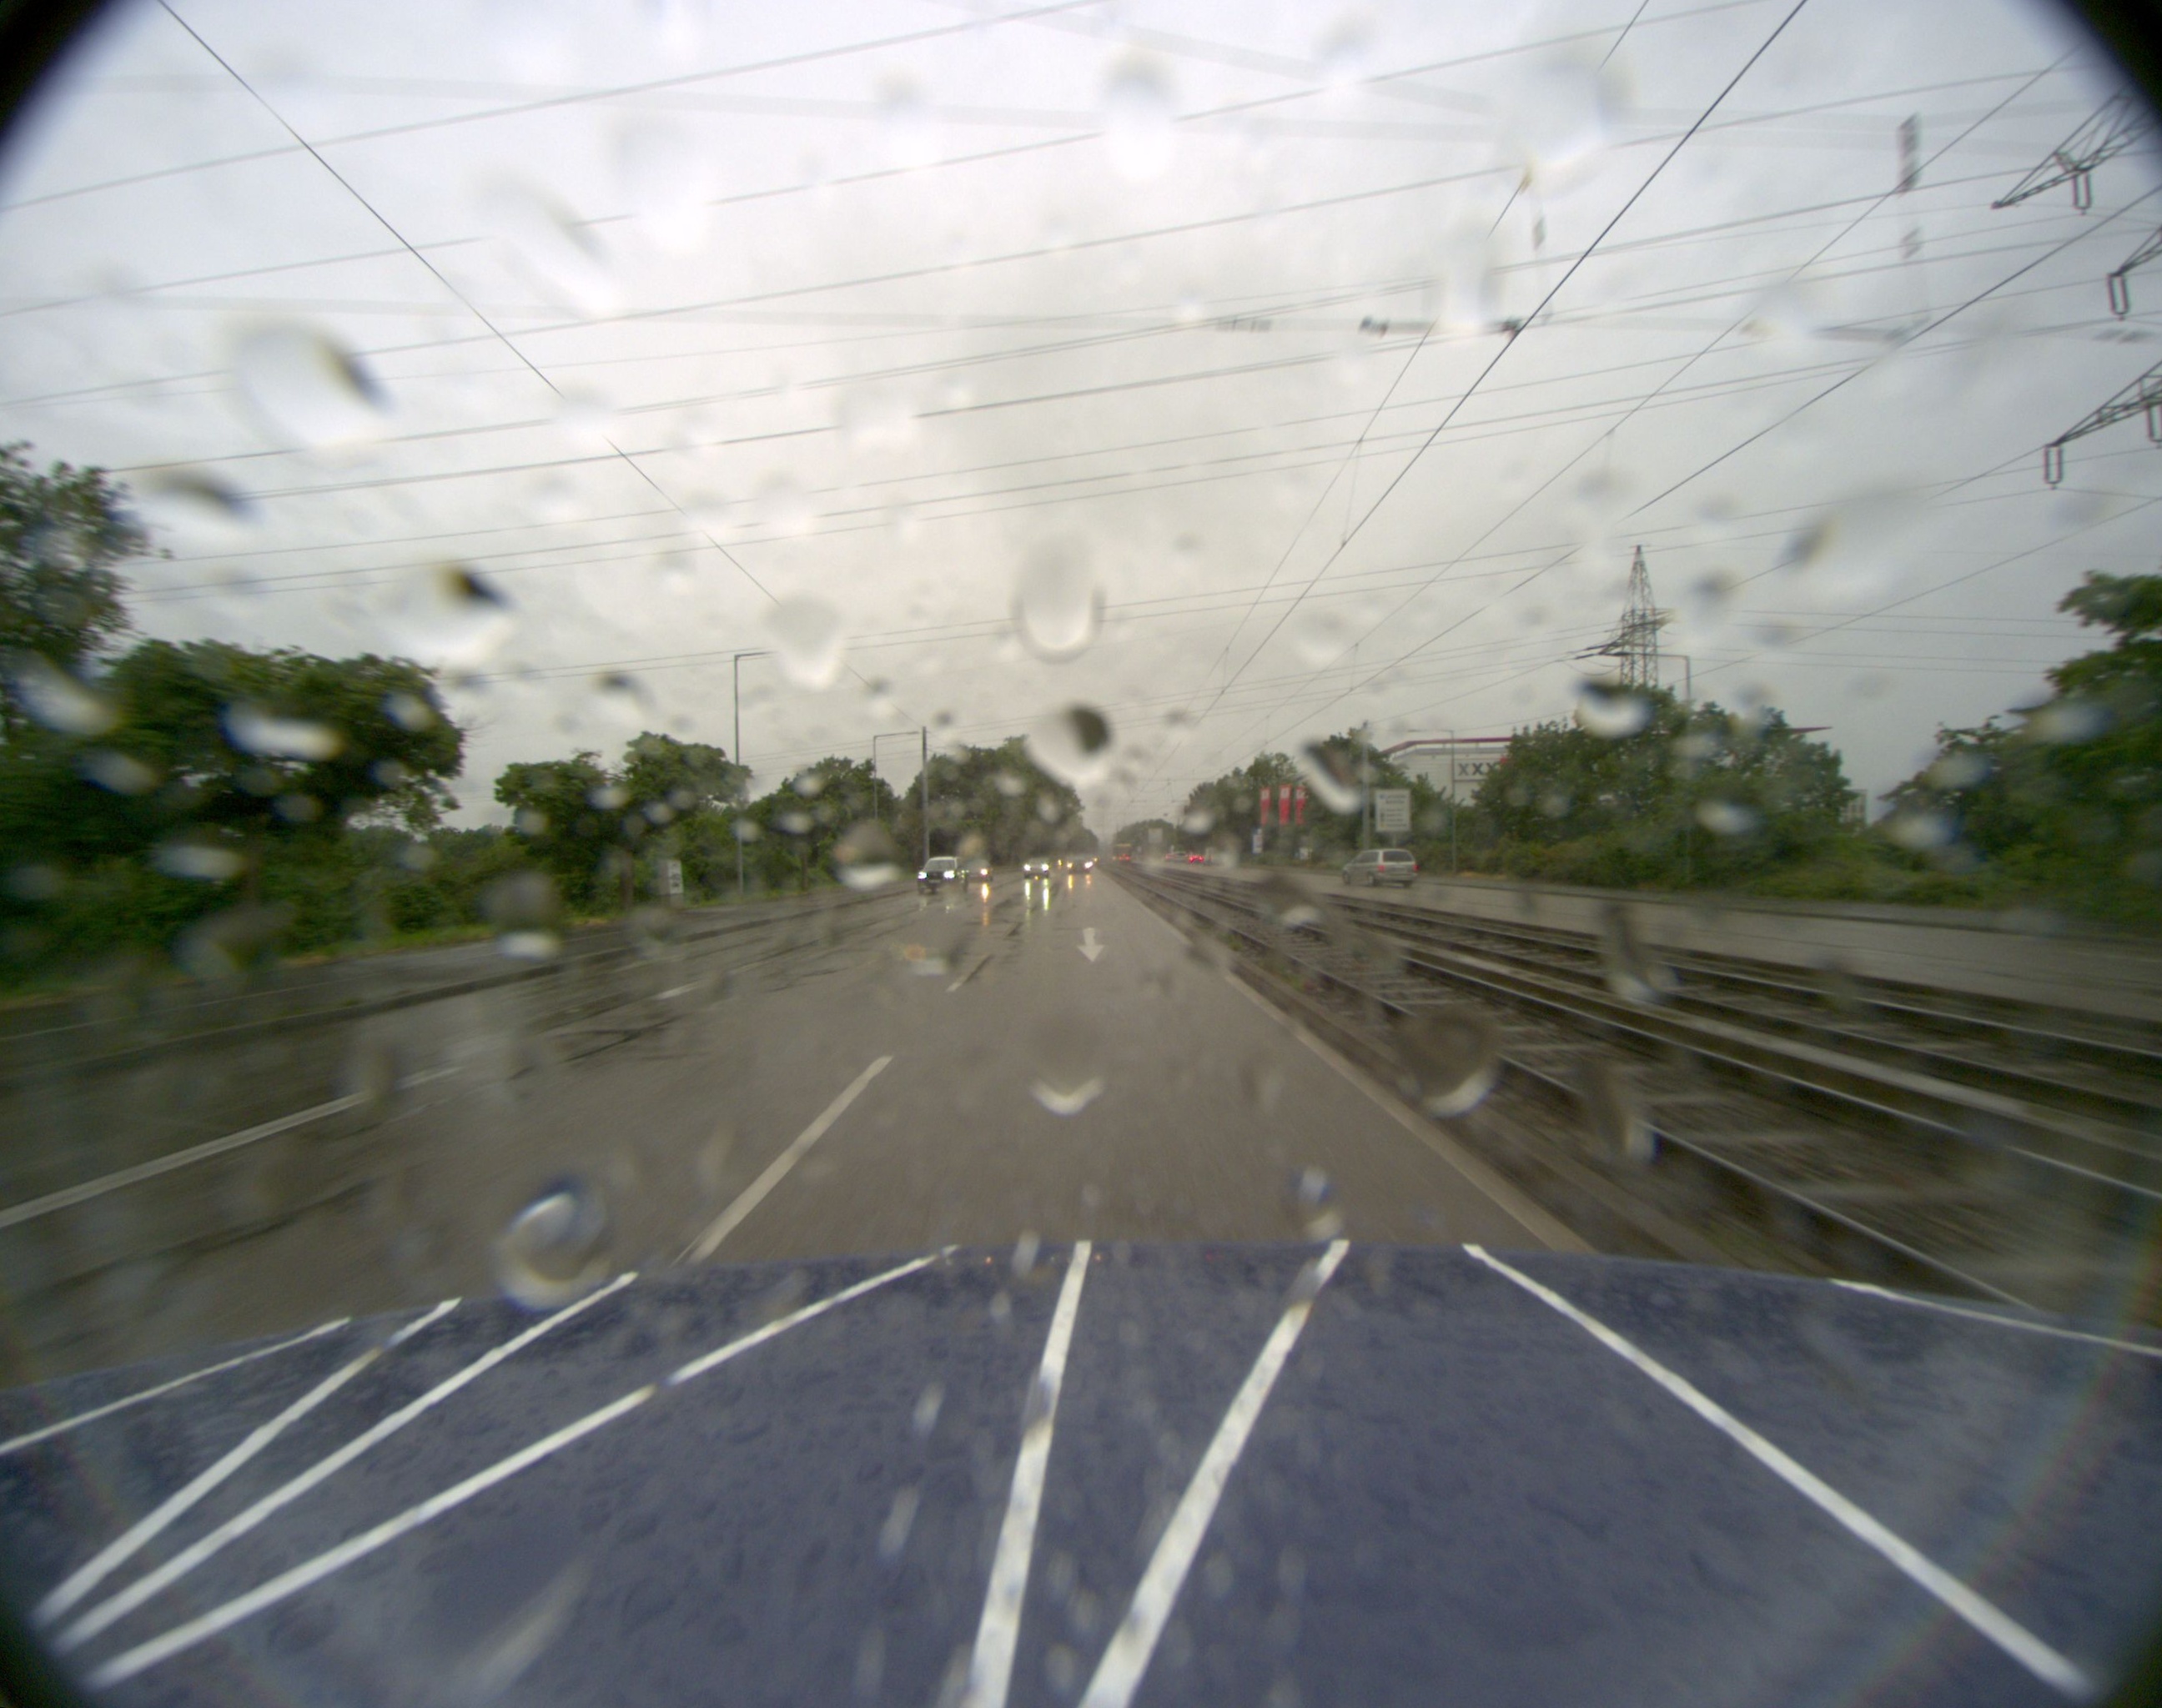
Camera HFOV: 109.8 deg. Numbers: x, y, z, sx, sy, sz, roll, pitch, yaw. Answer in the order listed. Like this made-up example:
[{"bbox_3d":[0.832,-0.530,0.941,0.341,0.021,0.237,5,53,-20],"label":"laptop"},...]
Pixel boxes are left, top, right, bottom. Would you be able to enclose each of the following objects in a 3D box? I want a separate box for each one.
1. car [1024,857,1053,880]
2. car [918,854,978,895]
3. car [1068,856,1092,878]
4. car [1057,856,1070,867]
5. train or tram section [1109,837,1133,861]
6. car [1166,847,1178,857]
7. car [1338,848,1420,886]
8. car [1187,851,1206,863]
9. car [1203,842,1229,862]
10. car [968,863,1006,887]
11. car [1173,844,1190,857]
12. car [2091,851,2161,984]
[{"bbox_3d":[-2.976,1.040,54.182,1.807,1.521,3.645,-2,0,0],"label":"car"},{"bbox_3d":[-6.131,0.916,35.482,1.797,1.692,4.764,-2,0,1],"label":"car"},{"bbox_3d":[-0.066,1.083,63.518,1.815,1.692,4.001,-1,0,1],"label":"car"},{"bbox_3d":[-2.597,1.128,111.959,1.846,1.572,3.838,-2,0,0],"label":"car"},{"bbox_3d":[6.618,-0.752,128.723,2.893,3.683,19.529,-2,0,0],"label":"train or tram section"},{"bbox_3d":[18.168,-0.392,152.386,1.868,1.903,4.000,-2,0,0],"label":"car"},{"bbox_3d":[14.135,0.584,36.420,1.829,1.625,5.137,-2,0,0],"label":"car"},{"bbox_3d":[16.745,0.443,110.424,1.901,1.631,4.730,-2,0,-1],"label":"car"},{"bbox_3d":[16.855,-0.243,95.182,2.156,2.284,5.983,2,0,0],"label":"car"},{"bbox_3d":[-6.033,1.323,49.057,1.784,1.419,4.001,-1,0,1],"label":"car"},{"bbox_3d":[16.793,-0.573,127.175,2.095,2.088,4.730,-2,0,-1],"label":"car"},{"bbox_3d":[13.785,0.720,7.123,1.847,1.564,5.066,-2,0,0],"label":"car"}]
